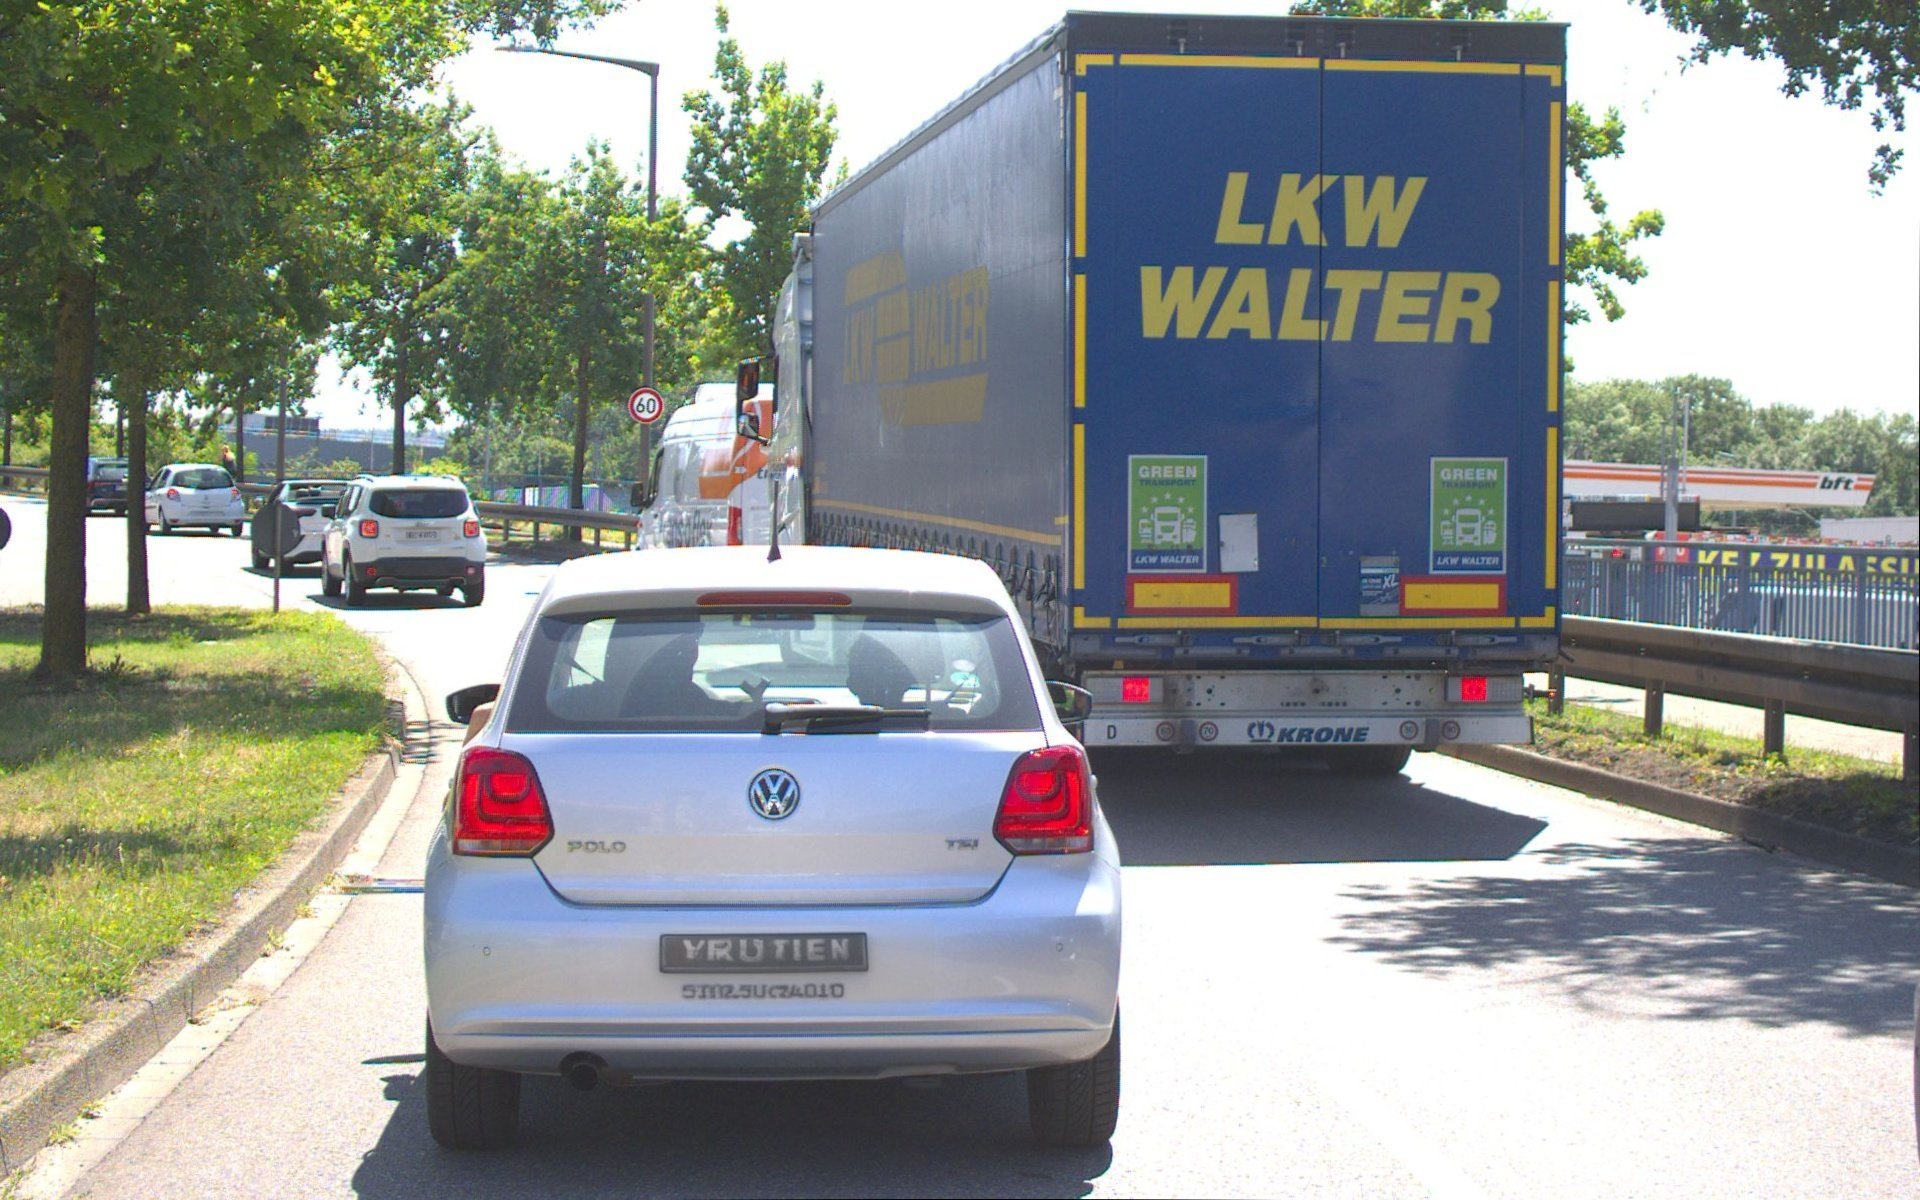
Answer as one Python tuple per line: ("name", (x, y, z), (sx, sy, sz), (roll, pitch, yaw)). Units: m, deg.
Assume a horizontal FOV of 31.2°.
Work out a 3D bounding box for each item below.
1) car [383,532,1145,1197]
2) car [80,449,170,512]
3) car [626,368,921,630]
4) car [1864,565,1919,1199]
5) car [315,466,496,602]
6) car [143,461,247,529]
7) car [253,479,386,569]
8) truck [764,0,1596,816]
("car", (-0.483, 0.555, 9.299), (1.646, 1.434, 3.537), (1, 1, -2))
("car", (-20.364, -2.900, 83.781), (1.664, 1.460, 3.582), (1, 1, -21))
("car", (-2.384, -1.275, 41.656), (2.175, 2.890, 6.361), (1, 2, -16))
("car", (2.780, 0.702, 4.840), (1.604, 1.451, 4.236), (1, 1, -4))
("car", (-7.503, -0.880, 46.200), (1.903, 1.712, 4.225), (1, 1, -16))
("car", (-16.113, -2.215, 72.317), (1.607, 1.355, 3.664), (1, 2, -21))
("car", (-10.160, -1.220, 54.386), (1.494, 1.355, 3.664), (1, 2, -20))
("truck", (0.646, -1.269, 25.237), (2.832, 4.184, 16.479), (1, 2, -8))
